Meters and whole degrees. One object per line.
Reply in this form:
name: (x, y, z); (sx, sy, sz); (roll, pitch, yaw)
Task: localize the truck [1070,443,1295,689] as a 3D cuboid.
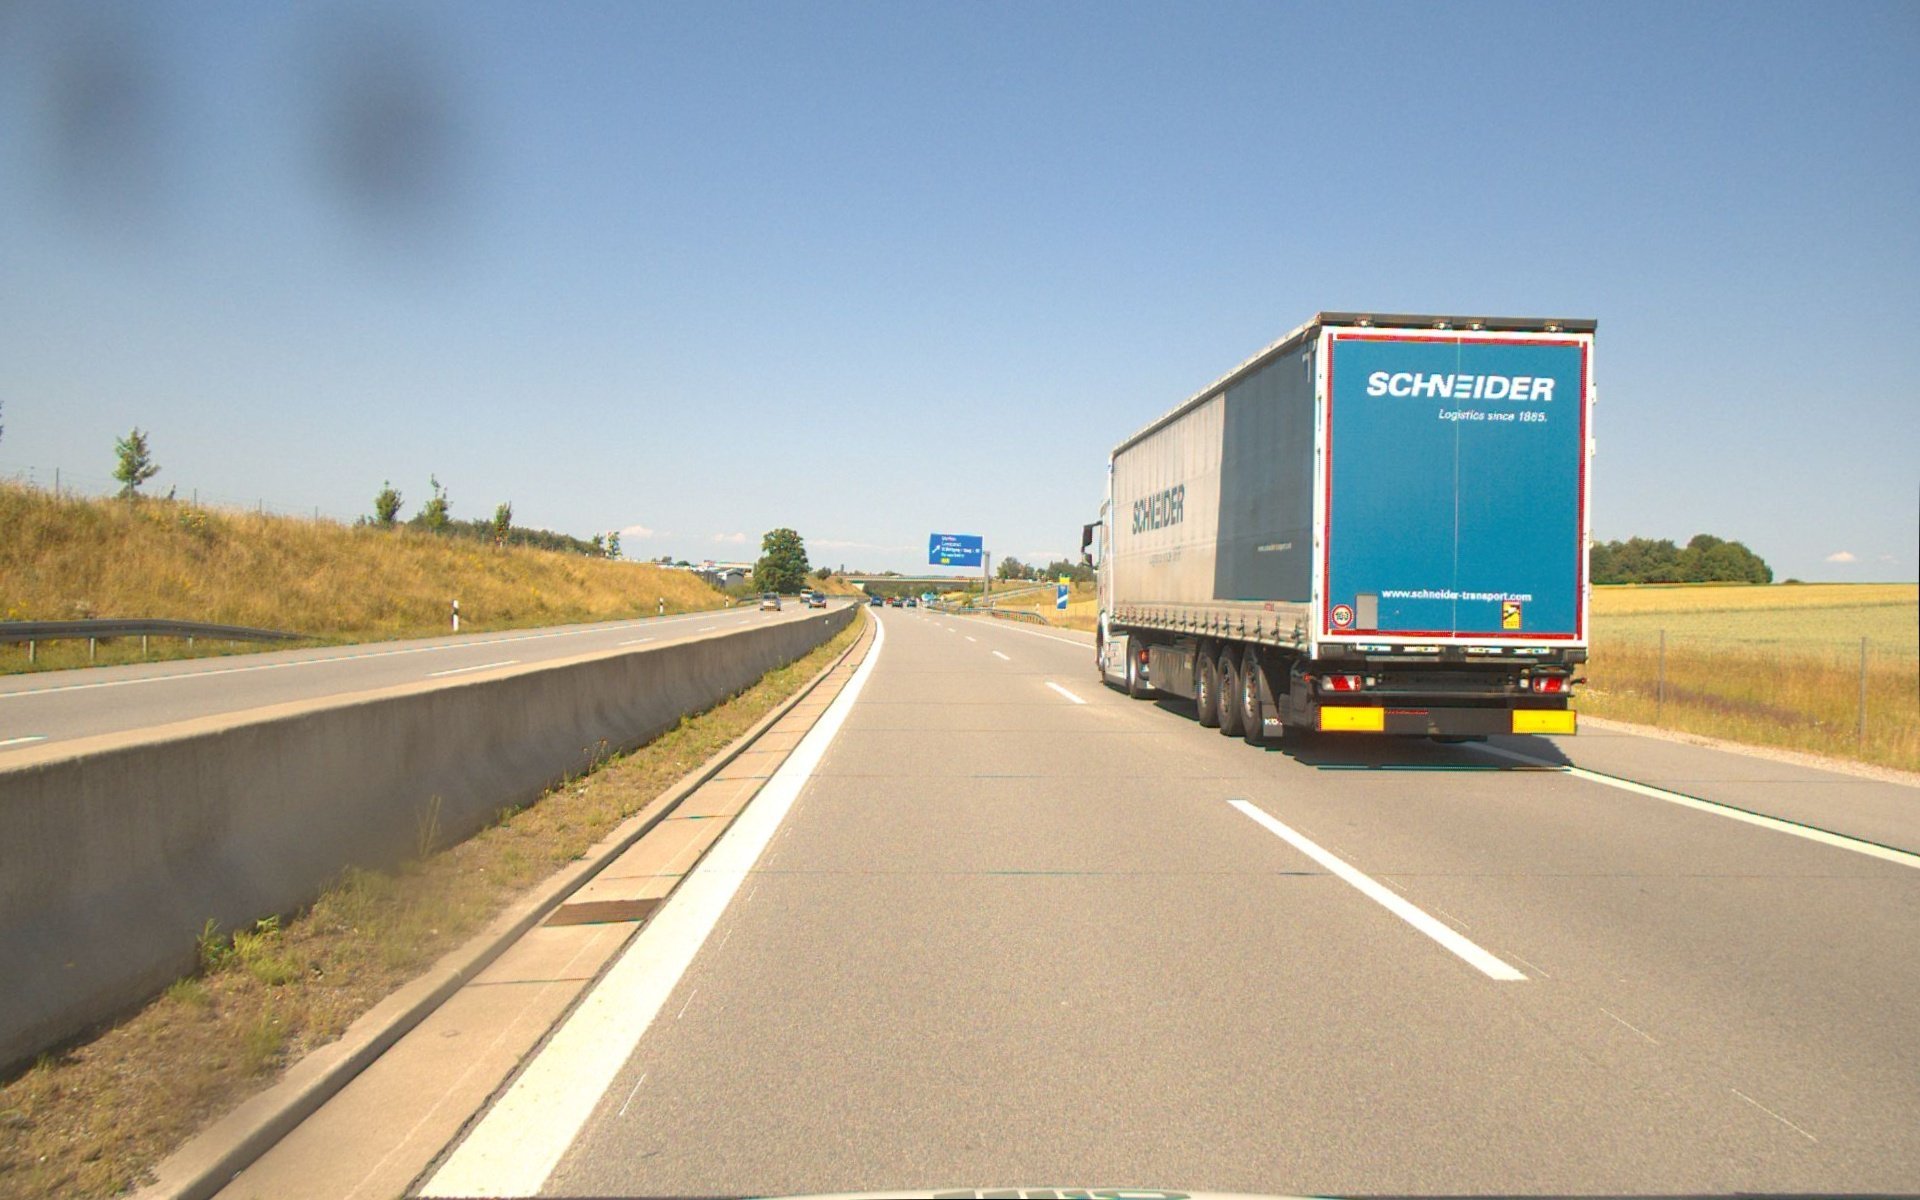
truck: (3.927, -0.588, 30.719); (3.021, 4.084, 6.185); (-1, 0, -3)

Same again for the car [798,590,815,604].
car: (-22.123, -0.438, 238.391); (2.191, 1.968, 5.787); (1, 0, -7)

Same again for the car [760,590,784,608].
car: (-15.994, -0.091, 141.008); (1.842, 1.528, 4.562); (0, 0, -4)

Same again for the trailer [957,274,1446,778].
trailer: (4.215, -0.702, 22.145); (3.111, 4.369, 15.461); (0, 0, 21)

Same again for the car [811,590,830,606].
car: (-14.897, -0.220, 176.209); (1.843, 1.603, 4.559); (-1, 0, -7)

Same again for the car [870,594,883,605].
car: (-12.722, -0.069, 251.701); (1.953, 1.579, 3.999); (-1, 0, -2)
